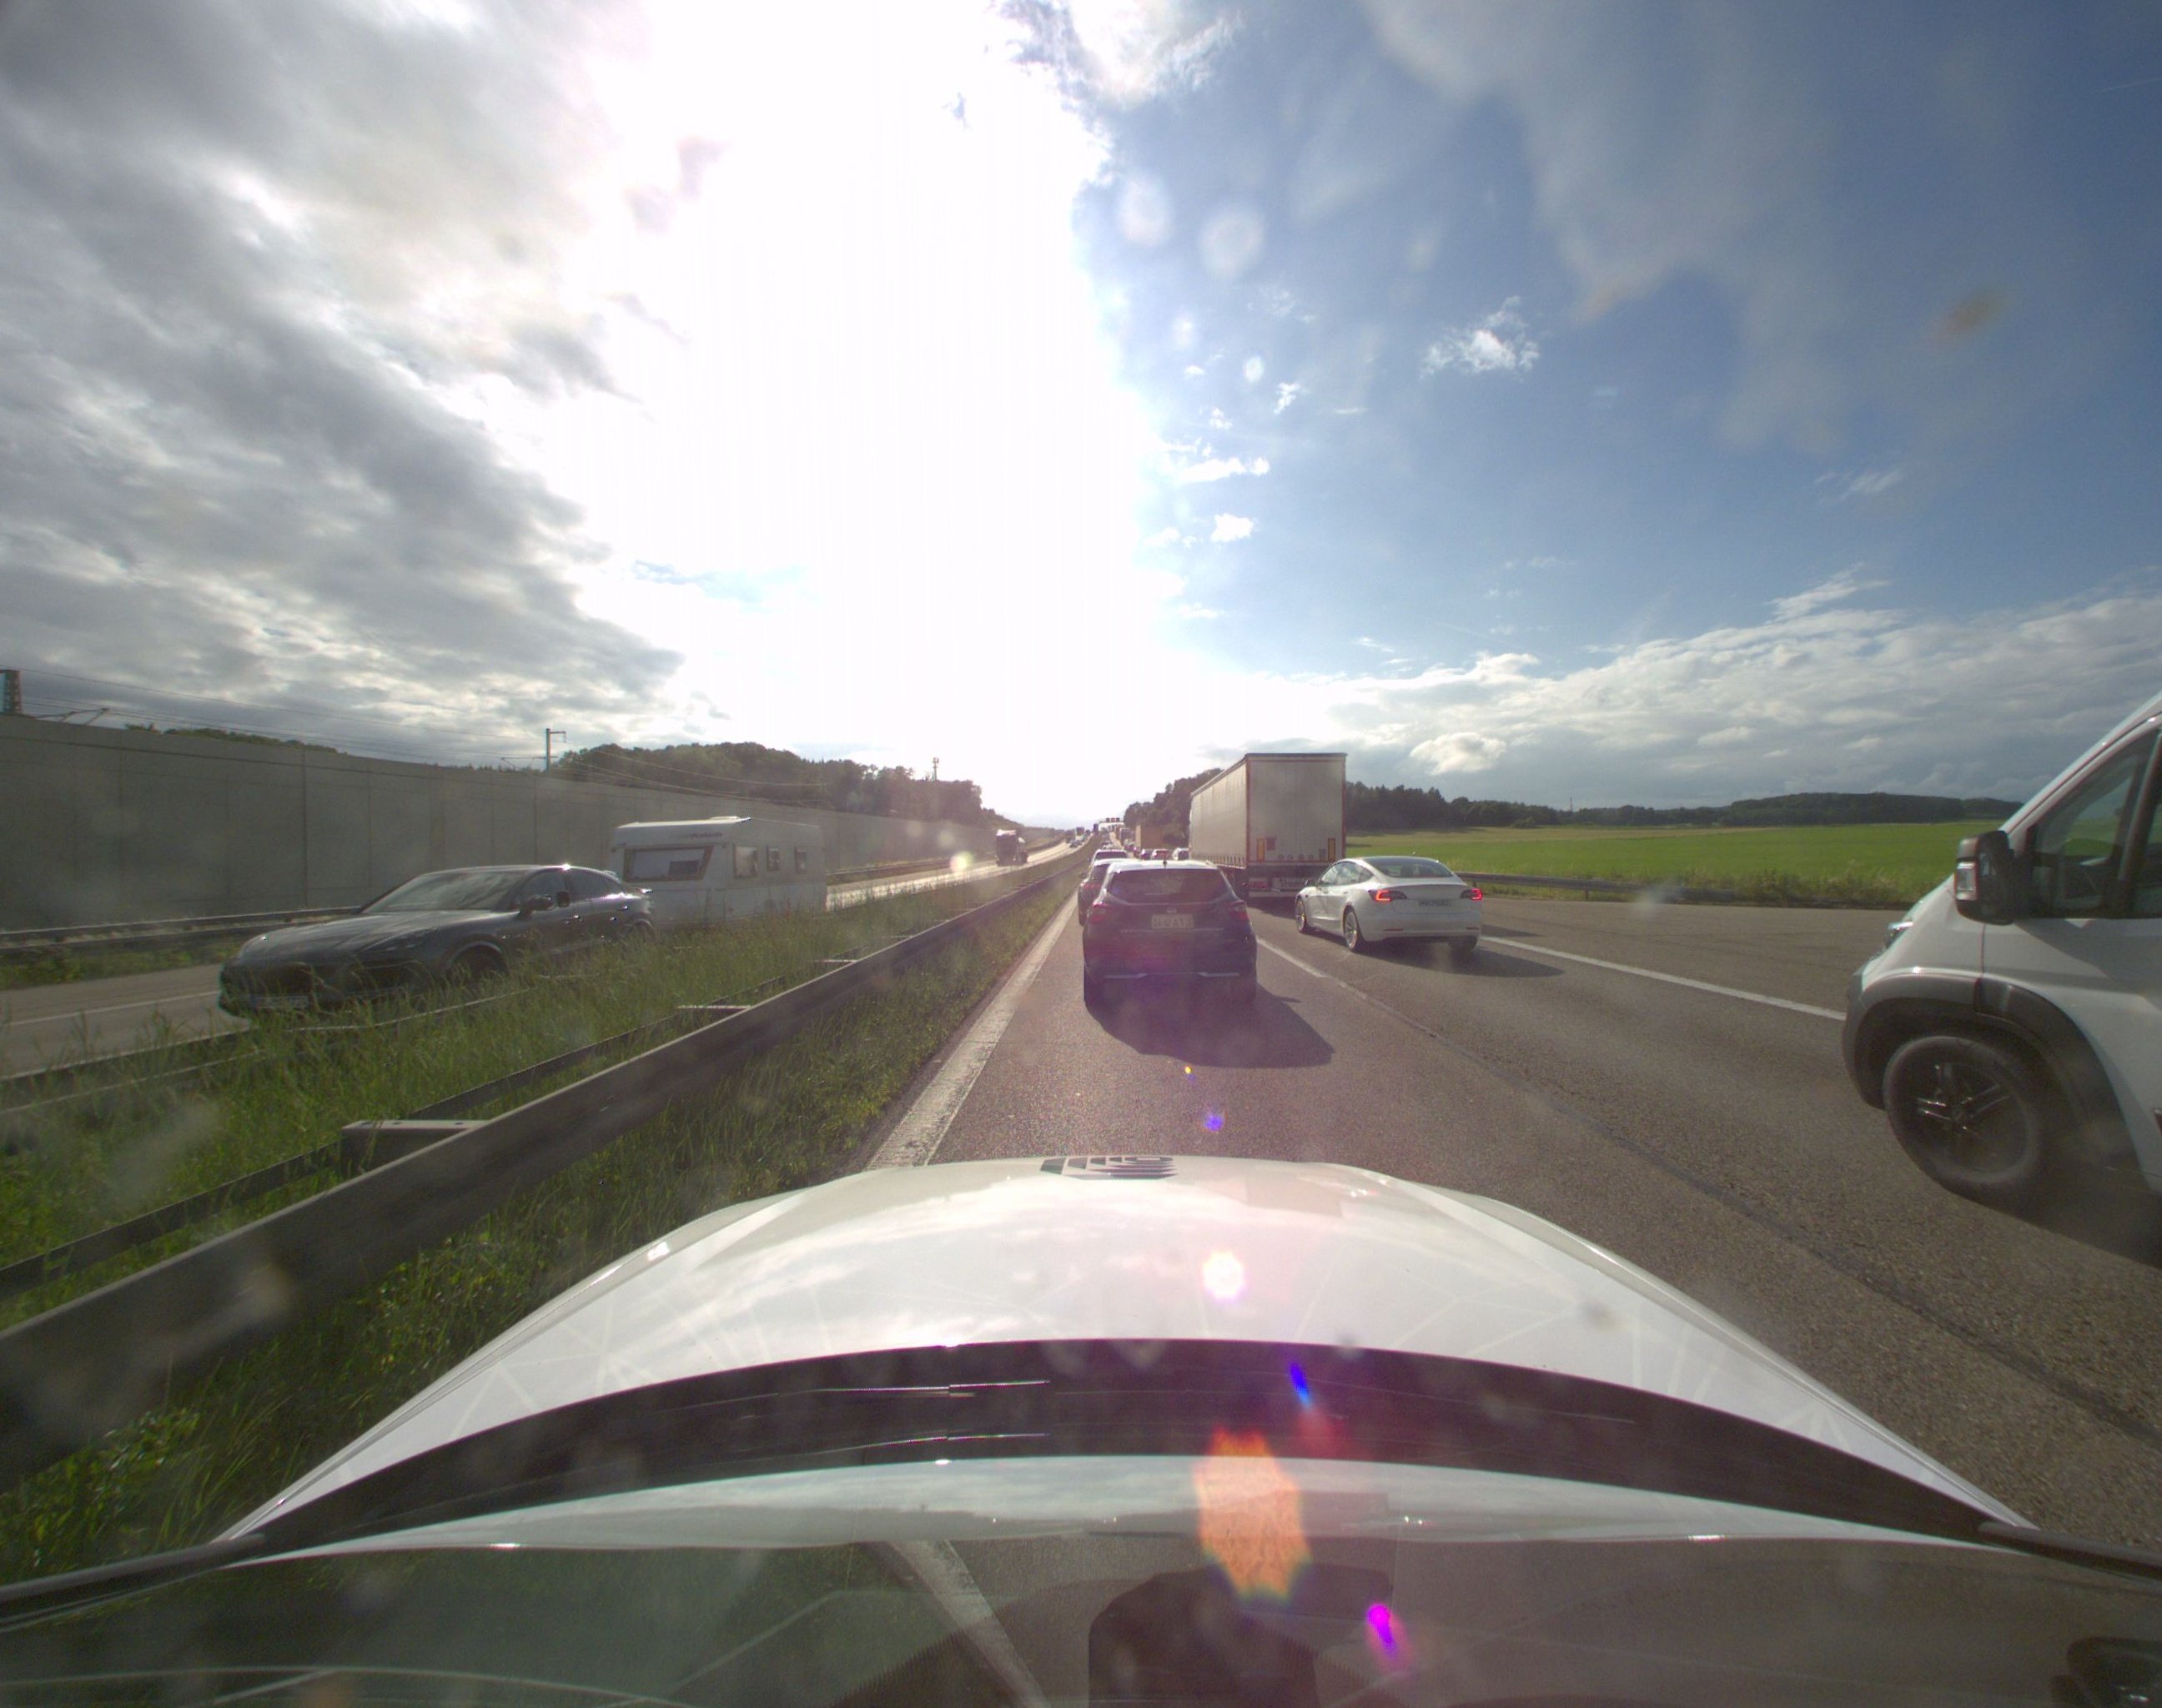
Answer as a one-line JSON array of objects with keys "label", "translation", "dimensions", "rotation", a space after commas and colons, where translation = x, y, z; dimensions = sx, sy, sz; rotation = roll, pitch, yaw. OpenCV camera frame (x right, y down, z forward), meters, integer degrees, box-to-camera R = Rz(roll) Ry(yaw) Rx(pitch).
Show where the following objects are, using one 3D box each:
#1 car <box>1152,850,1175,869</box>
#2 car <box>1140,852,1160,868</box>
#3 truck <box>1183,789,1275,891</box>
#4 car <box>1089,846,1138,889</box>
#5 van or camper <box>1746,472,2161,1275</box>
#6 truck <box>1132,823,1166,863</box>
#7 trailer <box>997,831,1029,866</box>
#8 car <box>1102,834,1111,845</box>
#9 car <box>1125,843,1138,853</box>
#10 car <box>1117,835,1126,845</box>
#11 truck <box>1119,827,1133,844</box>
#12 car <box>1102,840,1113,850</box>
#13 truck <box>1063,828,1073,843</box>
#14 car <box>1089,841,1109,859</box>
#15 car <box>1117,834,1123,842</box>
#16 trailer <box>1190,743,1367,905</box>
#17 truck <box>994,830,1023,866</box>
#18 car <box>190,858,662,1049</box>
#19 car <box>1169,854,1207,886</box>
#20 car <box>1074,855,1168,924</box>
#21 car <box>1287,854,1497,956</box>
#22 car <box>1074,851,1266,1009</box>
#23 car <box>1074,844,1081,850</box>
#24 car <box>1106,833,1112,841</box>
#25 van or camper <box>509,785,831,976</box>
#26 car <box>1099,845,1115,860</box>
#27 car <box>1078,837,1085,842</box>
[{"label": "car", "translation": [7.855, 0.520, 77.807], "dimensions": [1.866, 1.644, 4.234], "rotation": [-1, 1, 2]}, {"label": "car", "translation": [7.352, 0.626, 87.272], "dimensions": [1.866, 1.644, 4.234], "rotation": [-1, 0, 2]}, {"label": "truck", "translation": [6.147, -0.509, 34.580], "dimensions": [3.121, 4.016, 5.166], "rotation": [-1, -1, 2]}, {"label": "car", "translation": [1.356, 0.538, 33.914], "dimensions": [1.866, 1.644, 4.234], "rotation": [-1, 0, 2]}, {"label": "van or camper", "translation": [4.677, 0.044, 1.242], "dimensions": [2.207, 2.681, 6.334], "rotation": [-1, 0, 1]}, {"label": "truck", "translation": [8.274, -1.185, 100.782], "dimensions": [3.286, 4.577, 12.440], "rotation": [0, -1, 1]}, {"label": "trailer", "translation": [-8.210, -0.640, 100.062], "dimensions": [2.579, 3.902, 10.867], "rotation": [-2, 0, 1]}, {"label": "car", "translation": [5.726, -3.302, 182.891], "dimensions": [1.866, 2.158, 5.214], "rotation": [-1, 3, 2]}, {"label": "car", "translation": [8.882, -1.073, 143.119], "dimensions": [1.868, 1.644, 4.230], "rotation": [-1, 1, -1]}, {"label": "car", "translation": [9.945, -3.498, 200.147], "dimensions": [1.866, 2.158, 5.214], "rotation": [-1, 3, 2]}, {"label": "truck", "translation": [12.461, -5.014, 225.811], "dimensions": [3.452, 4.576, 12.442], "rotation": [0, 1, 1]}, {"label": "car", "translation": [4.478, -1.529, 138.813], "dimensions": [1.867, 1.644, 4.233], "rotation": [-1, 1, 1]}, {"label": "truck", "translation": [-3.817, -5.565, 242.911], "dimensions": [2.371, 4.181, 5.934], "rotation": [-2, 0, 2]}, {"label": "car", "translation": [1.744, -0.407, 79.475], "dimensions": [1.866, 1.644, 4.234], "rotation": [-1, 1, 2]}, {"label": "car", "translation": [12.175, -5.093, 255.309], "dimensions": [1.866, 2.158, 5.214], "rotation": [-1, 3, 2]}, {"label": "trailer", "translation": [5.831, -0.631, 27.051], "dimensions": [3.118, 4.011, 13.373], "rotation": [-1, -1, 2]}, {"label": "truck", "translation": [-8.372, -0.681, 94.446], "dimensions": [2.573, 3.923, 5.724], "rotation": [-2, 0, 2]}, {"label": "car", "translation": [-7.061, 0.914, 9.556], "dimensions": [1.903, 1.671, 4.363], "rotation": [-1, 0, 1]}, {"label": "car", "translation": [5.783, 0.845, 44.507], "dimensions": [1.690, 1.610, 4.440], "rotation": [-1, 0, 3]}, {"label": "car", "translation": [0.889, 0.737, 18.702], "dimensions": [1.866, 1.358, 4.234], "rotation": [-1, 0, 2]}, {"label": "car", "translation": [4.883, 0.705, 13.536], "dimensions": [1.783, 1.394, 4.436], "rotation": [-1, 0, 0]}, {"label": "car", "translation": [0.914, 0.722, 9.798], "dimensions": [1.766, 1.451, 4.234], "rotation": [-1, 0, 2]}, {"label": "car", "translation": [-1.016, -1.862, 215.636], "dimensions": [1.691, 1.499, 4.428], "rotation": [-1, 0, 1]}, {"label": "car", "translation": [8.674, -5.209, 252.005], "dimensions": [1.866, 2.158, 5.214], "rotation": [-1, 3, 2]}, {"label": "van or camper", "translation": [-7.061, 0.393, 15.375], "dimensions": [2.244, 2.704, 7.172], "rotation": [-1, 0, 1]}, {"label": "car", "translation": [3.206, -0.193, 98.898], "dimensions": [1.866, 1.644, 4.235], "rotation": [-1, 1, 2]}, {"label": "car", "translation": [0.129, -4.295, 244.439], "dimensions": [1.762, 1.479, 3.831], "rotation": [-2, -1, 2]}]
